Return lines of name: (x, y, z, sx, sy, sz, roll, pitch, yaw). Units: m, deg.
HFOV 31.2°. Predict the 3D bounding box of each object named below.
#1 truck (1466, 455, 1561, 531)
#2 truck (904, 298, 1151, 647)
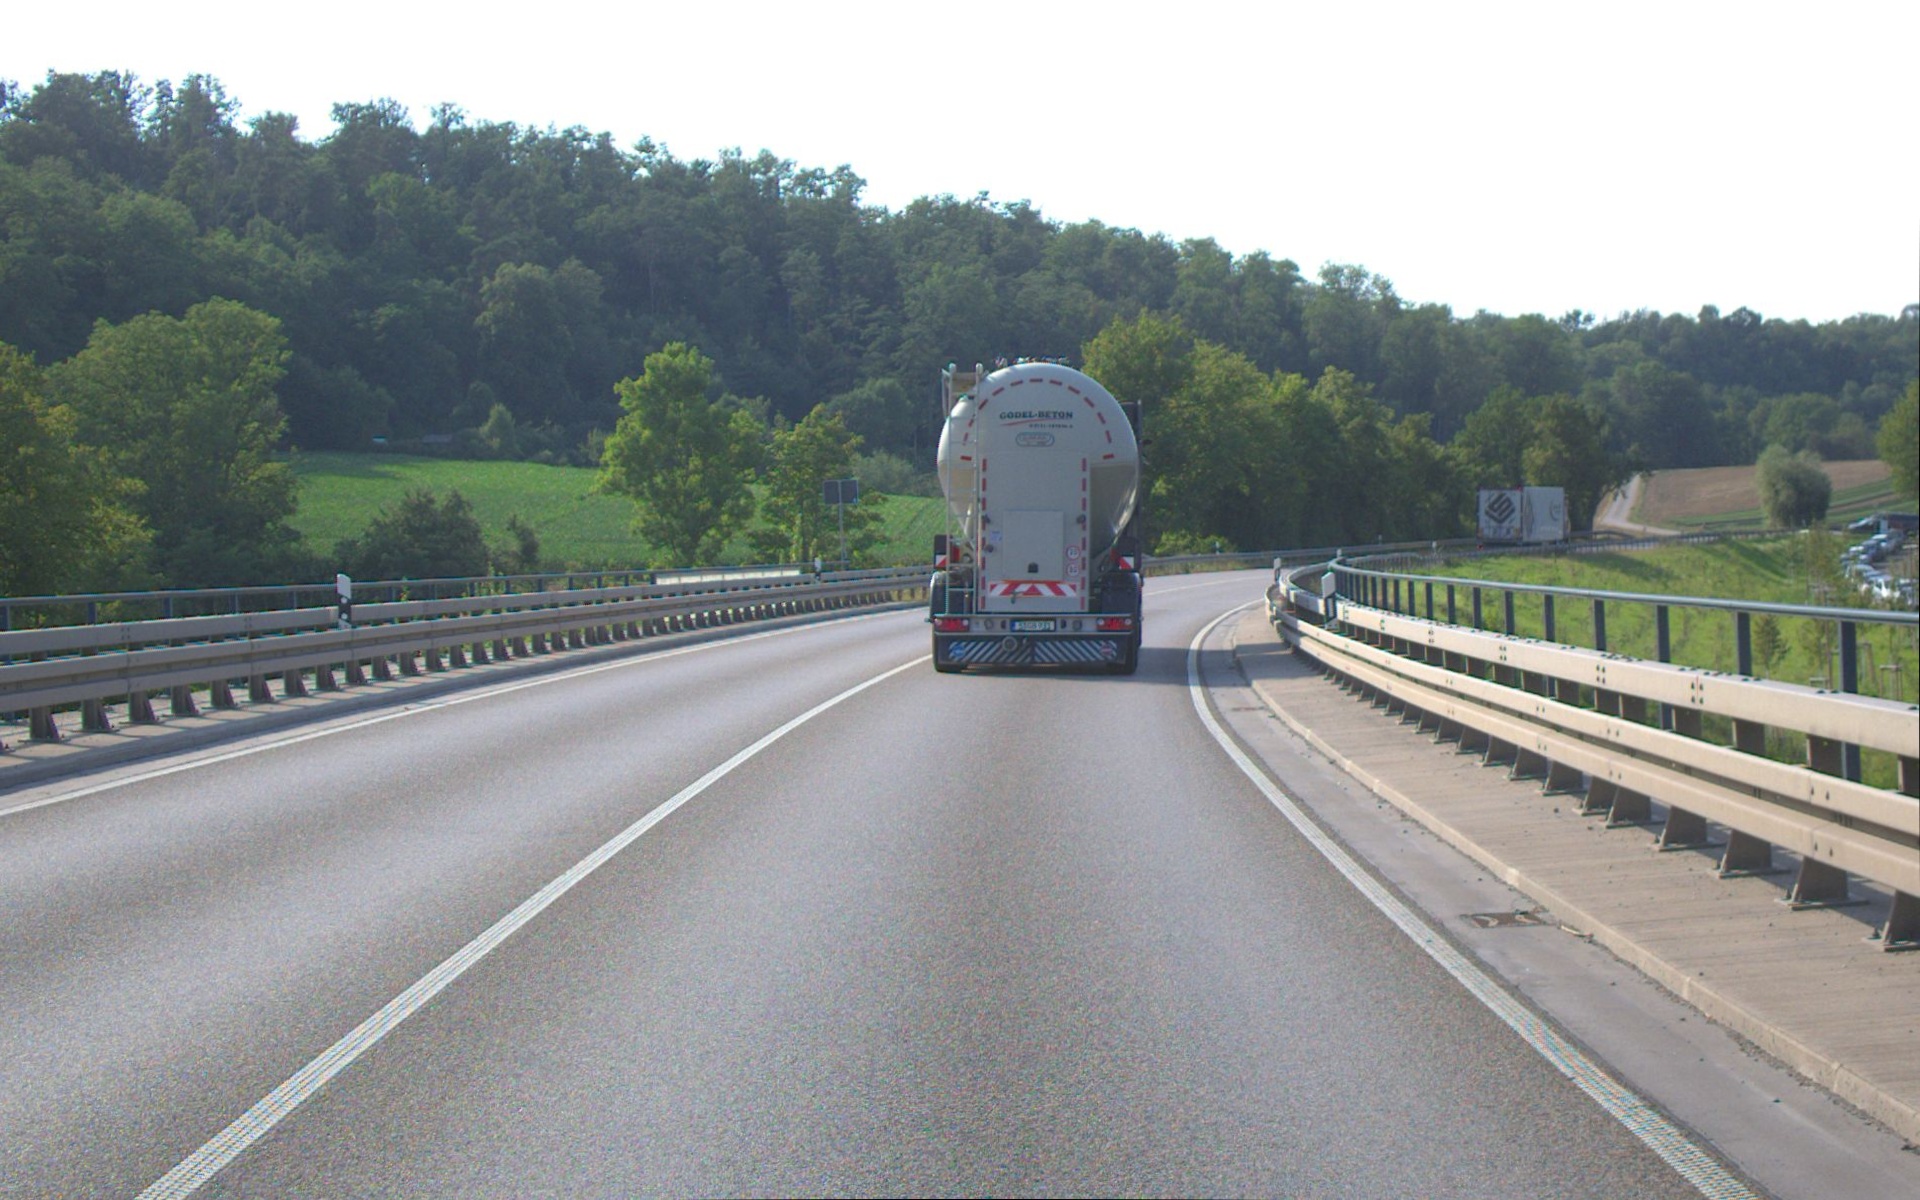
truck: (32.235, -6.282, 199.629, 3.186, 4.213, 13.161, 0, 3, 19)
truck: (1.119, -1.673, 47.785, 2.893, 4.128, 13.171, 1, 1, 3)
